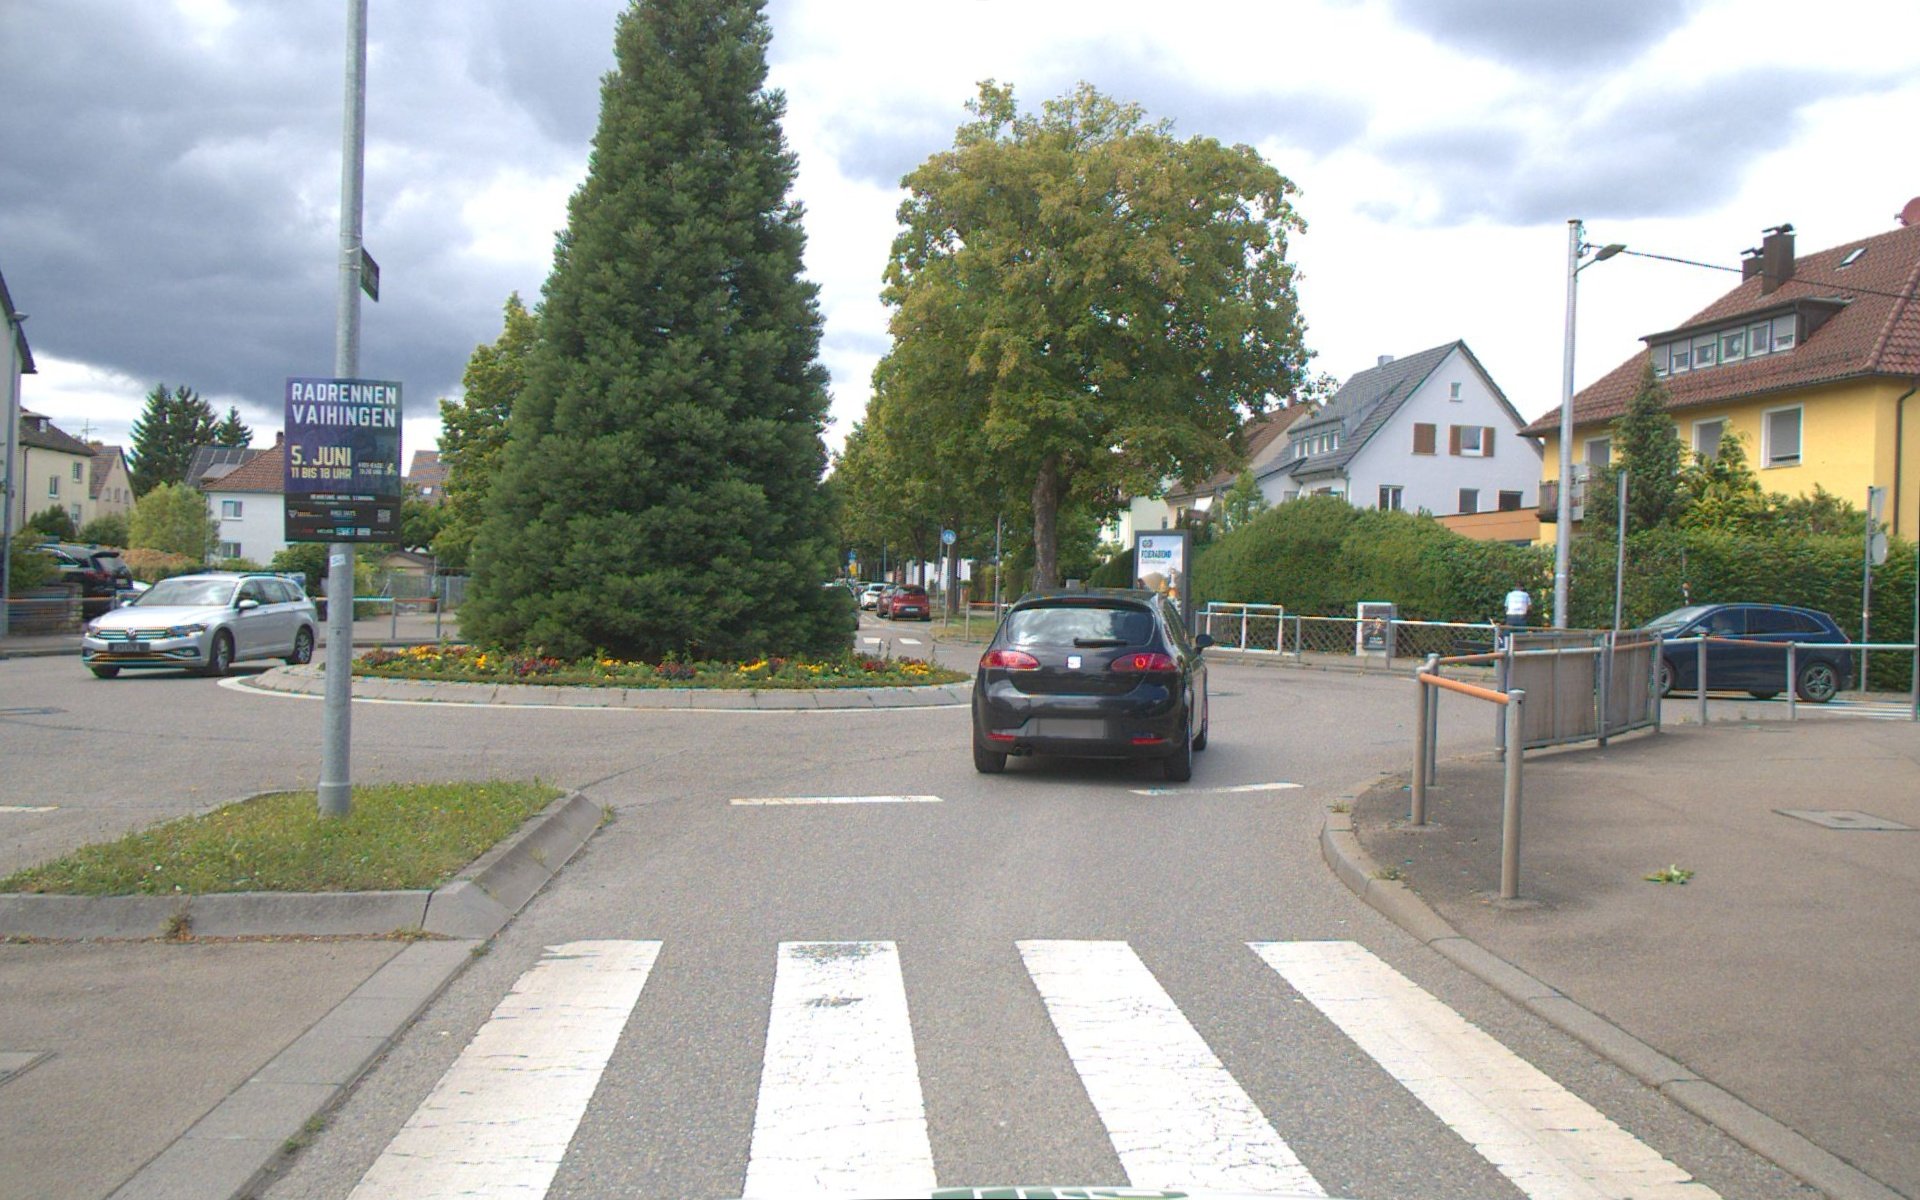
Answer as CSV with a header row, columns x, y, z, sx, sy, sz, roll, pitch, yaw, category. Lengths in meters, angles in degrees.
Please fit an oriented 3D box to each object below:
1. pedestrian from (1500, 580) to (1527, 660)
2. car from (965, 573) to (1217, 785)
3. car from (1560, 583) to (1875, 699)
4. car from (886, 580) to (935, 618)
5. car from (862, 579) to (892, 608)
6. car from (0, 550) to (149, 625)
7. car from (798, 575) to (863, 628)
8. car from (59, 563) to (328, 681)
x,y,z,sx,sy,sz,roll,pitch,yaw,category
10.948,0.396,32.704,0.480,1.560,0.485,1,0,19,pedestrian
1.251,0.550,14.049,1.695,1.512,4.004,1,1,11,car
12.166,0.636,26.710,4.309,1.690,1.649,2,0,-3,car
-2.082,-0.057,69.358,1.449,1.515,3.371,1,1,-12,car
-4.572,-0.371,90.702,1.564,1.536,3.597,0,1,-5,car
-20.606,-0.291,37.620,3.514,1.639,1.600,0,1,1,car
-4.292,0.021,54.375,1.955,1.641,3.994,1,1,-7,car
-11.226,0.270,24.585,1.830,1.588,4.261,0,1,3,car
